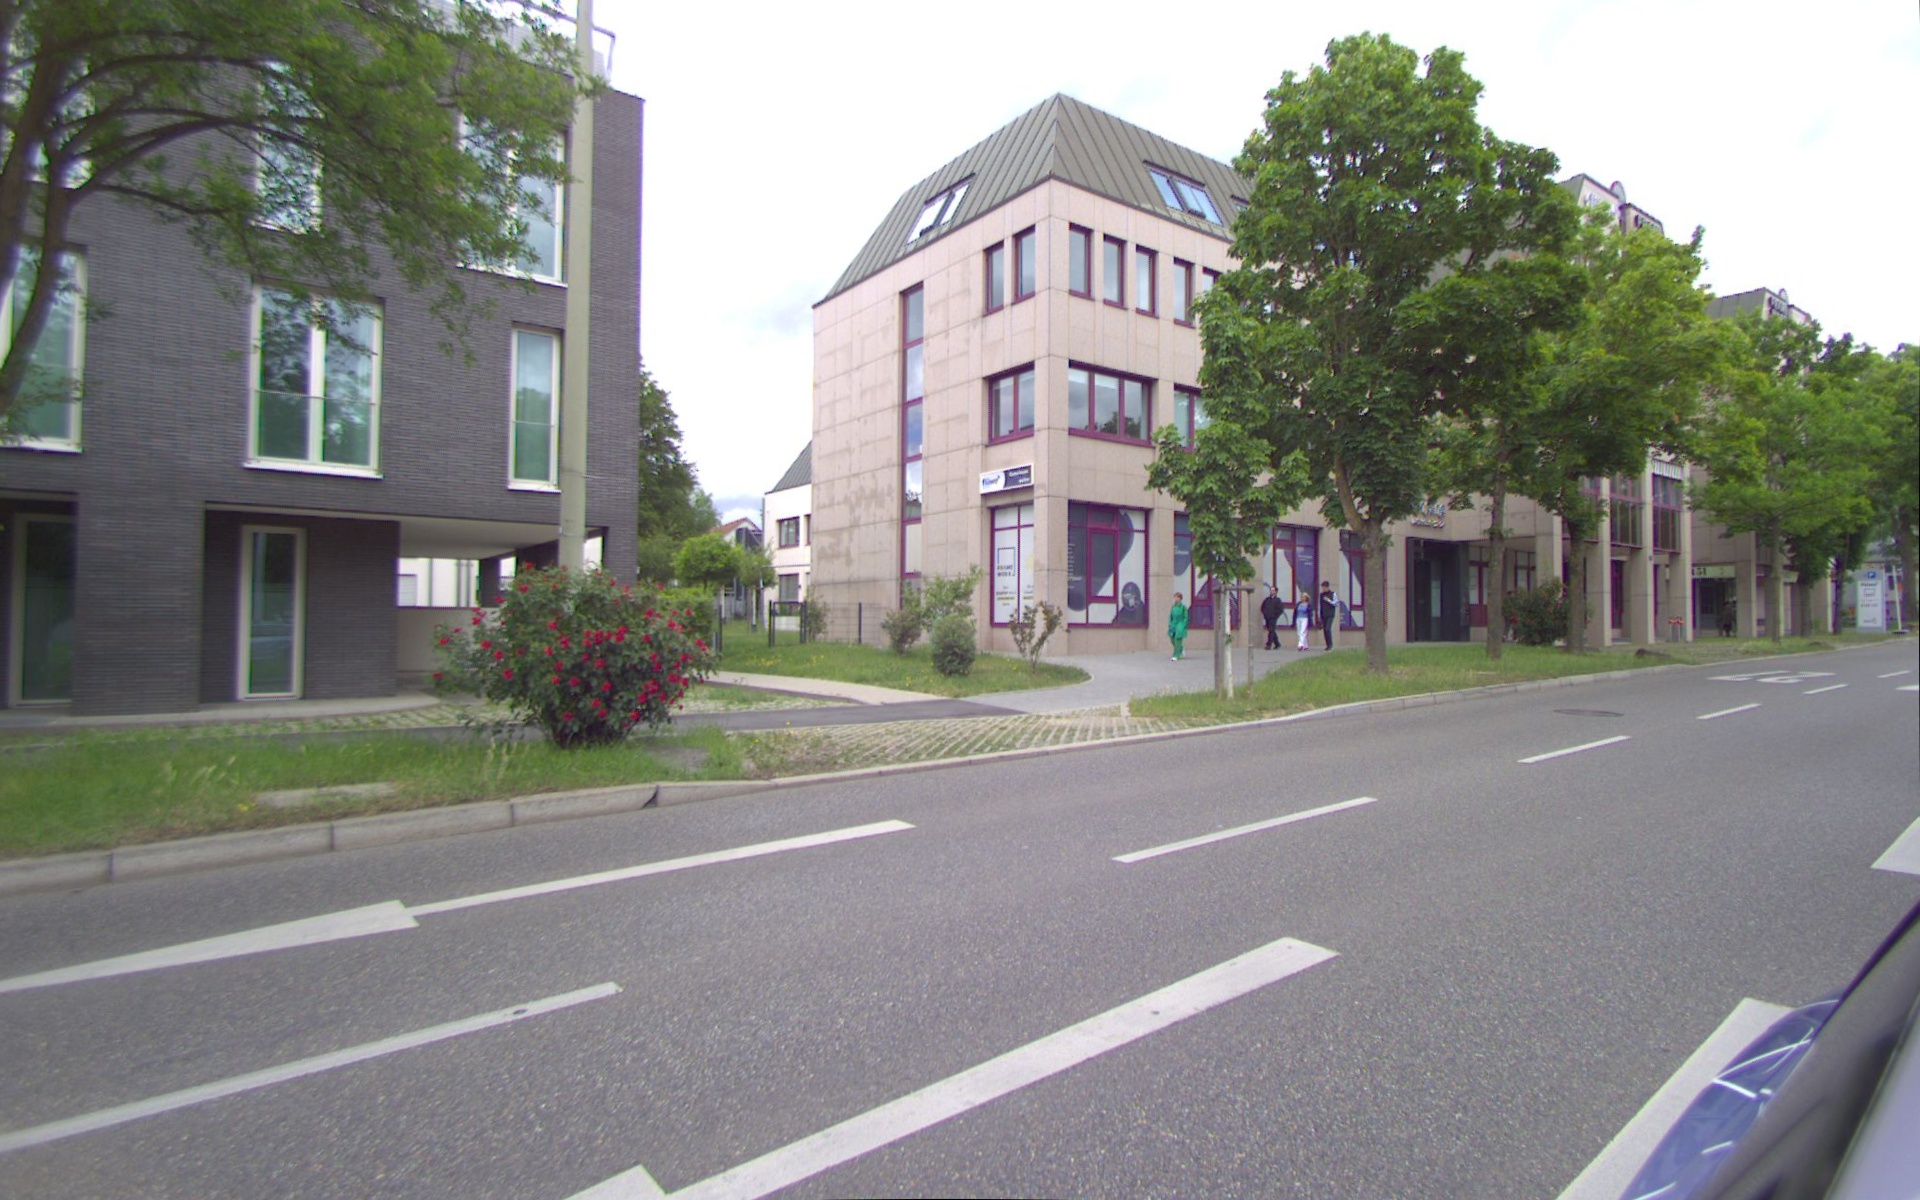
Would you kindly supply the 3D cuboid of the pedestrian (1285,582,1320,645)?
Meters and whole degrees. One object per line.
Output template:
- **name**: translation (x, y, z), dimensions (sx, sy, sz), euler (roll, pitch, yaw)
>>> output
- **pedestrian**: translation (9.117, 0.356, 26.955), dimensions (0.665, 1.668, 0.642), euler (0, -1, -41)

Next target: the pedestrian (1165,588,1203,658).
- **pedestrian**: translation (5.087, 0.509, 22.957), dimensions (0.665, 1.537, 0.496), euler (0, 2, -41)

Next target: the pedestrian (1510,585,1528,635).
- **pedestrian**: translation (19.121, 0.335, 34.637), dimensions (0.393, 1.715, 0.400), euler (0, -1, -38)

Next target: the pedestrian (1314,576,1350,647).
- **pedestrian**: translation (9.718, 0.291, 26.419), dimensions (0.665, 1.828, 0.642), euler (0, -1, -41)

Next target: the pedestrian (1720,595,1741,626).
- **pedestrian**: translation (35.154, 0.465, 46.188), dimensions (0.510, 1.422, 0.667), euler (0, 0, -39)

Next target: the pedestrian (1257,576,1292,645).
- **pedestrian**: translation (8.542, 0.287, 27.465), dimensions (0.665, 1.828, 0.642), euler (0, -1, -41)

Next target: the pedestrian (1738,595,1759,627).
- **pedestrian**: translation (35.549, 0.503, 45.635), dimensions (0.629, 1.422, 0.607), euler (0, 0, -38)

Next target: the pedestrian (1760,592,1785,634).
- **pedestrian**: translation (36.268, 0.587, 45.156), dimensions (0.932, 1.845, 0.718), euler (0, 0, -41)
